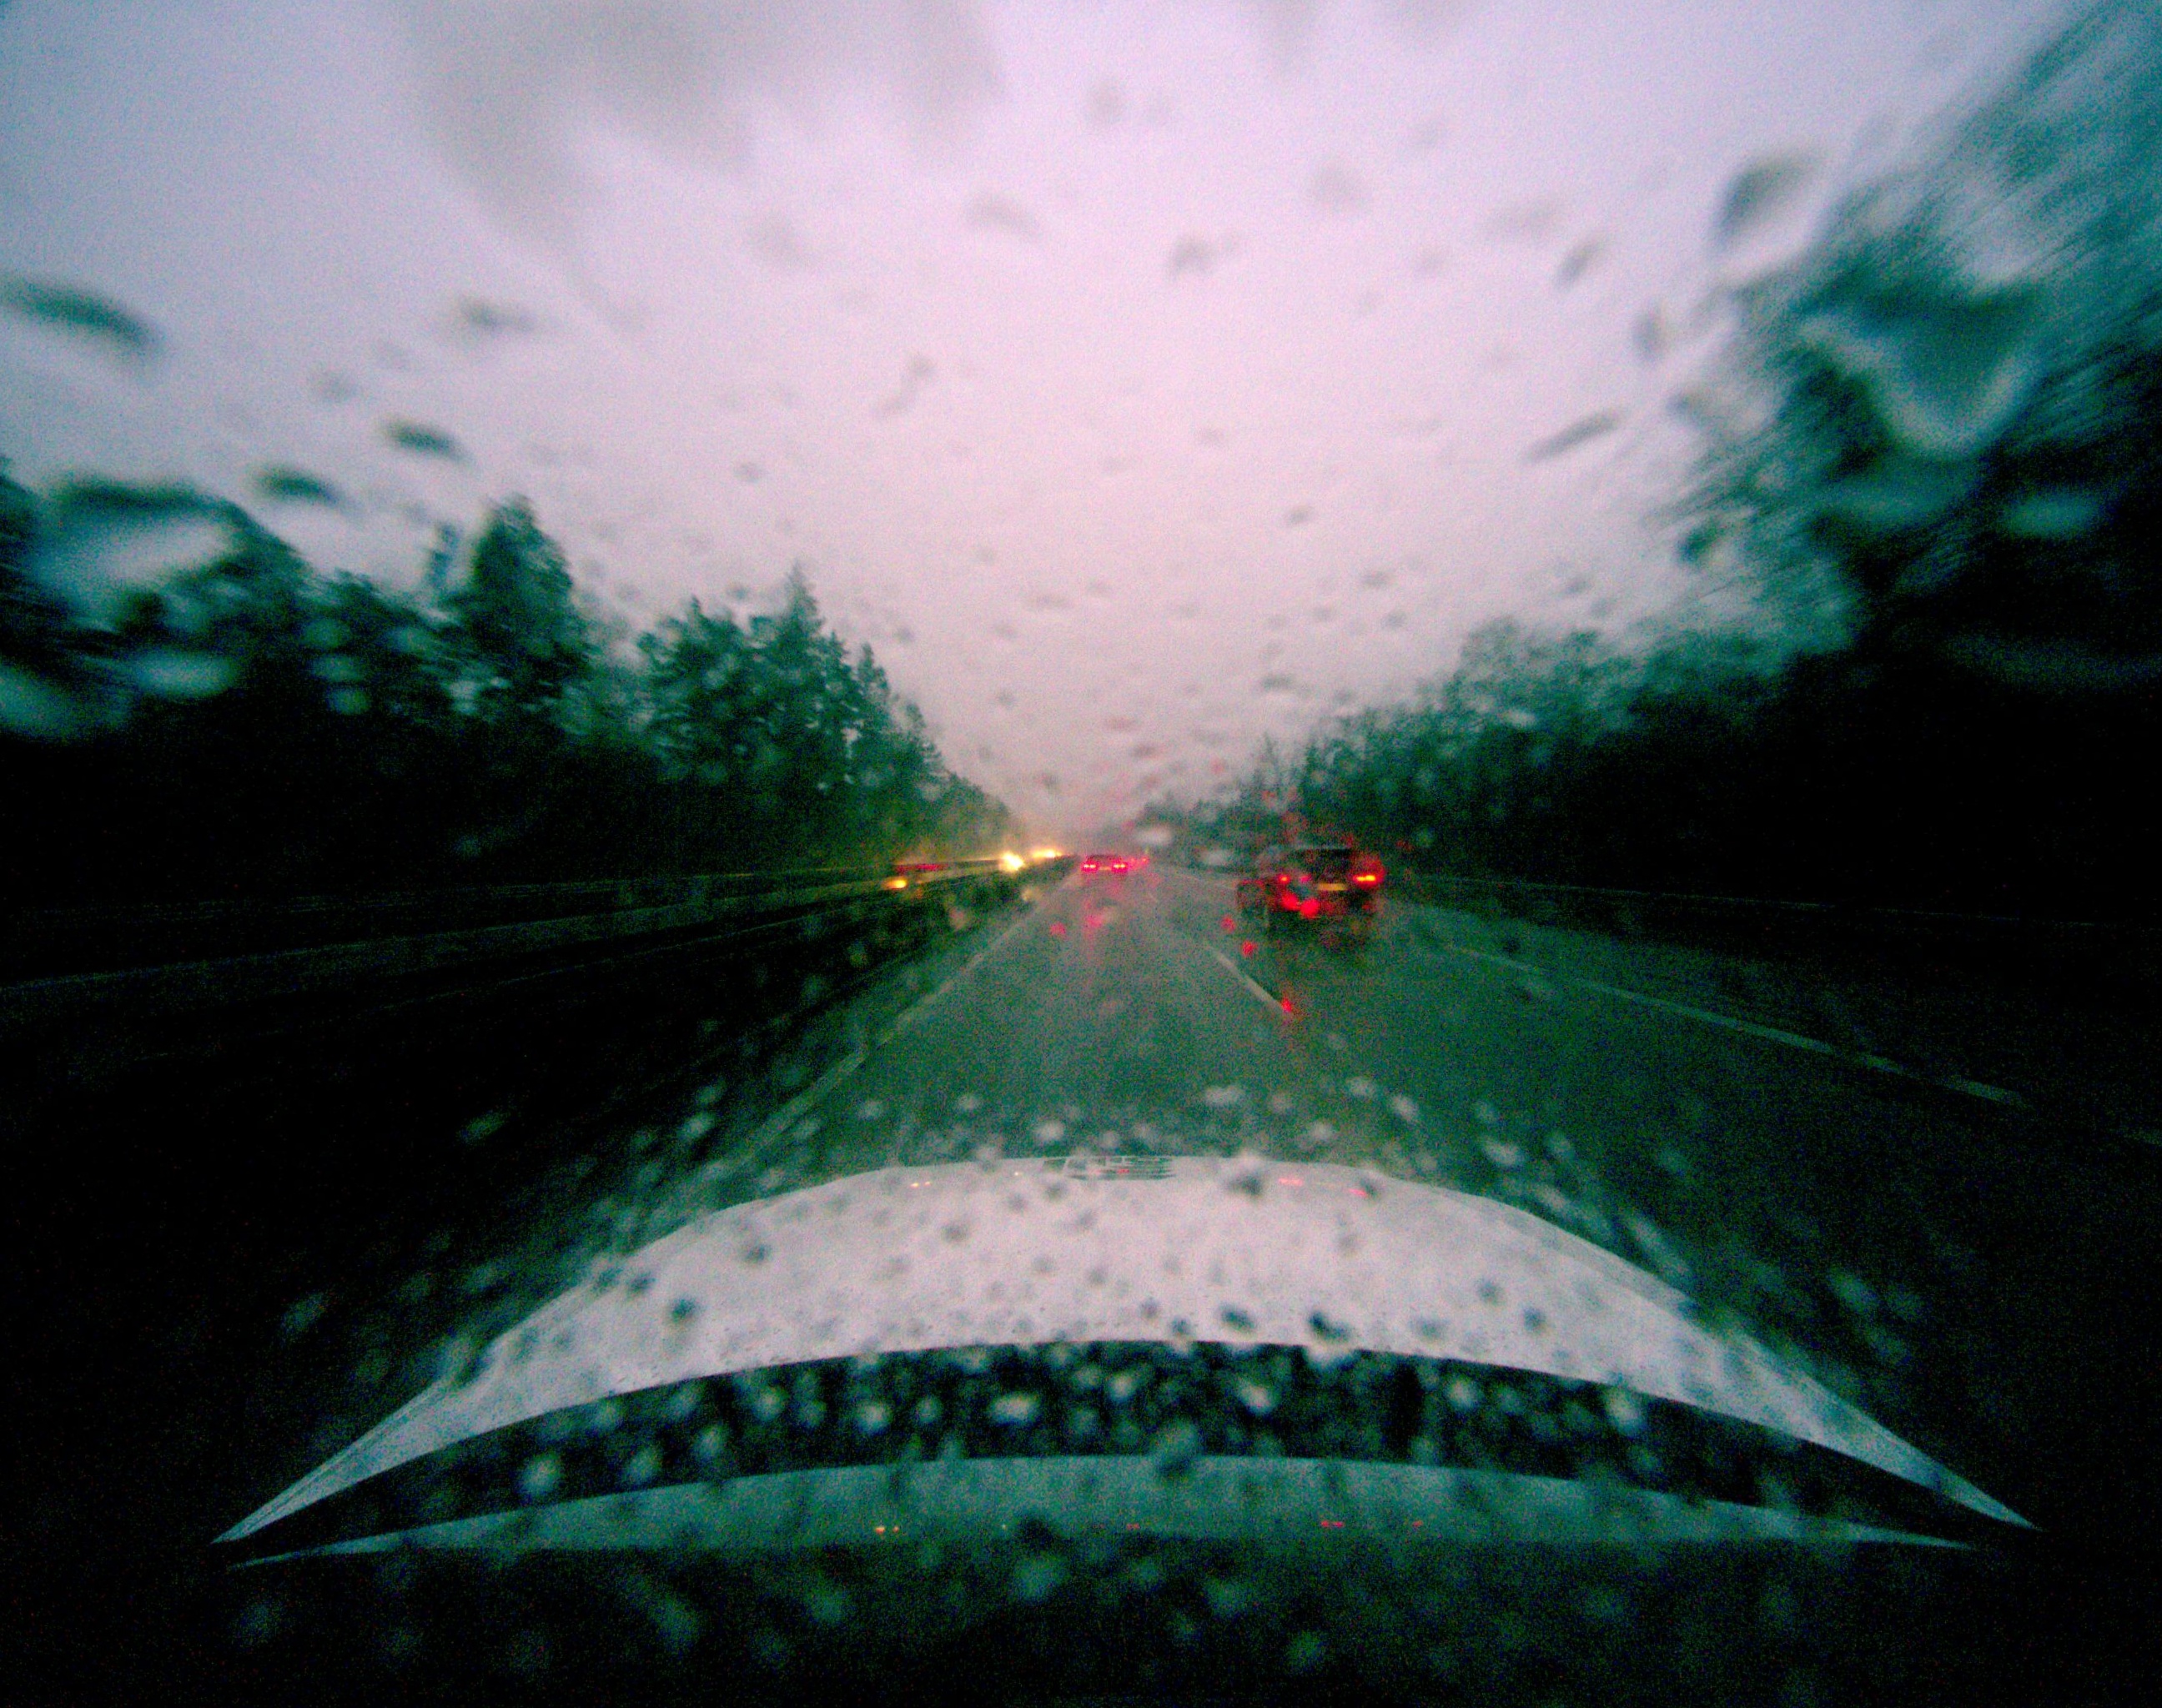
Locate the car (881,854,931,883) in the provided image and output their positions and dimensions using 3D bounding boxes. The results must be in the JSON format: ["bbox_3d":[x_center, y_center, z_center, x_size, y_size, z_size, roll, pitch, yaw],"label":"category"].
[{"bbox_3d":[-10.521,0.904,49.338,1.987,1.574,4.272,2,-2,0],"label":"car"}]

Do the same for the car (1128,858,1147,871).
[{"bbox_3d":[6.075,1.117,87.687,1.775,1.437,3.535,0,0,-2],"label":"car"}]

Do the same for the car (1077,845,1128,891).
[{"bbox_3d":[0.870,0.555,34.506,1.980,1.767,4.173,-2,0,0],"label":"car"}]

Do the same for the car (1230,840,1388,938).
[{"bbox_3d":[4.416,0.611,16.556,2.063,1.697,4.462,-1,0,1],"label":"car"}]
